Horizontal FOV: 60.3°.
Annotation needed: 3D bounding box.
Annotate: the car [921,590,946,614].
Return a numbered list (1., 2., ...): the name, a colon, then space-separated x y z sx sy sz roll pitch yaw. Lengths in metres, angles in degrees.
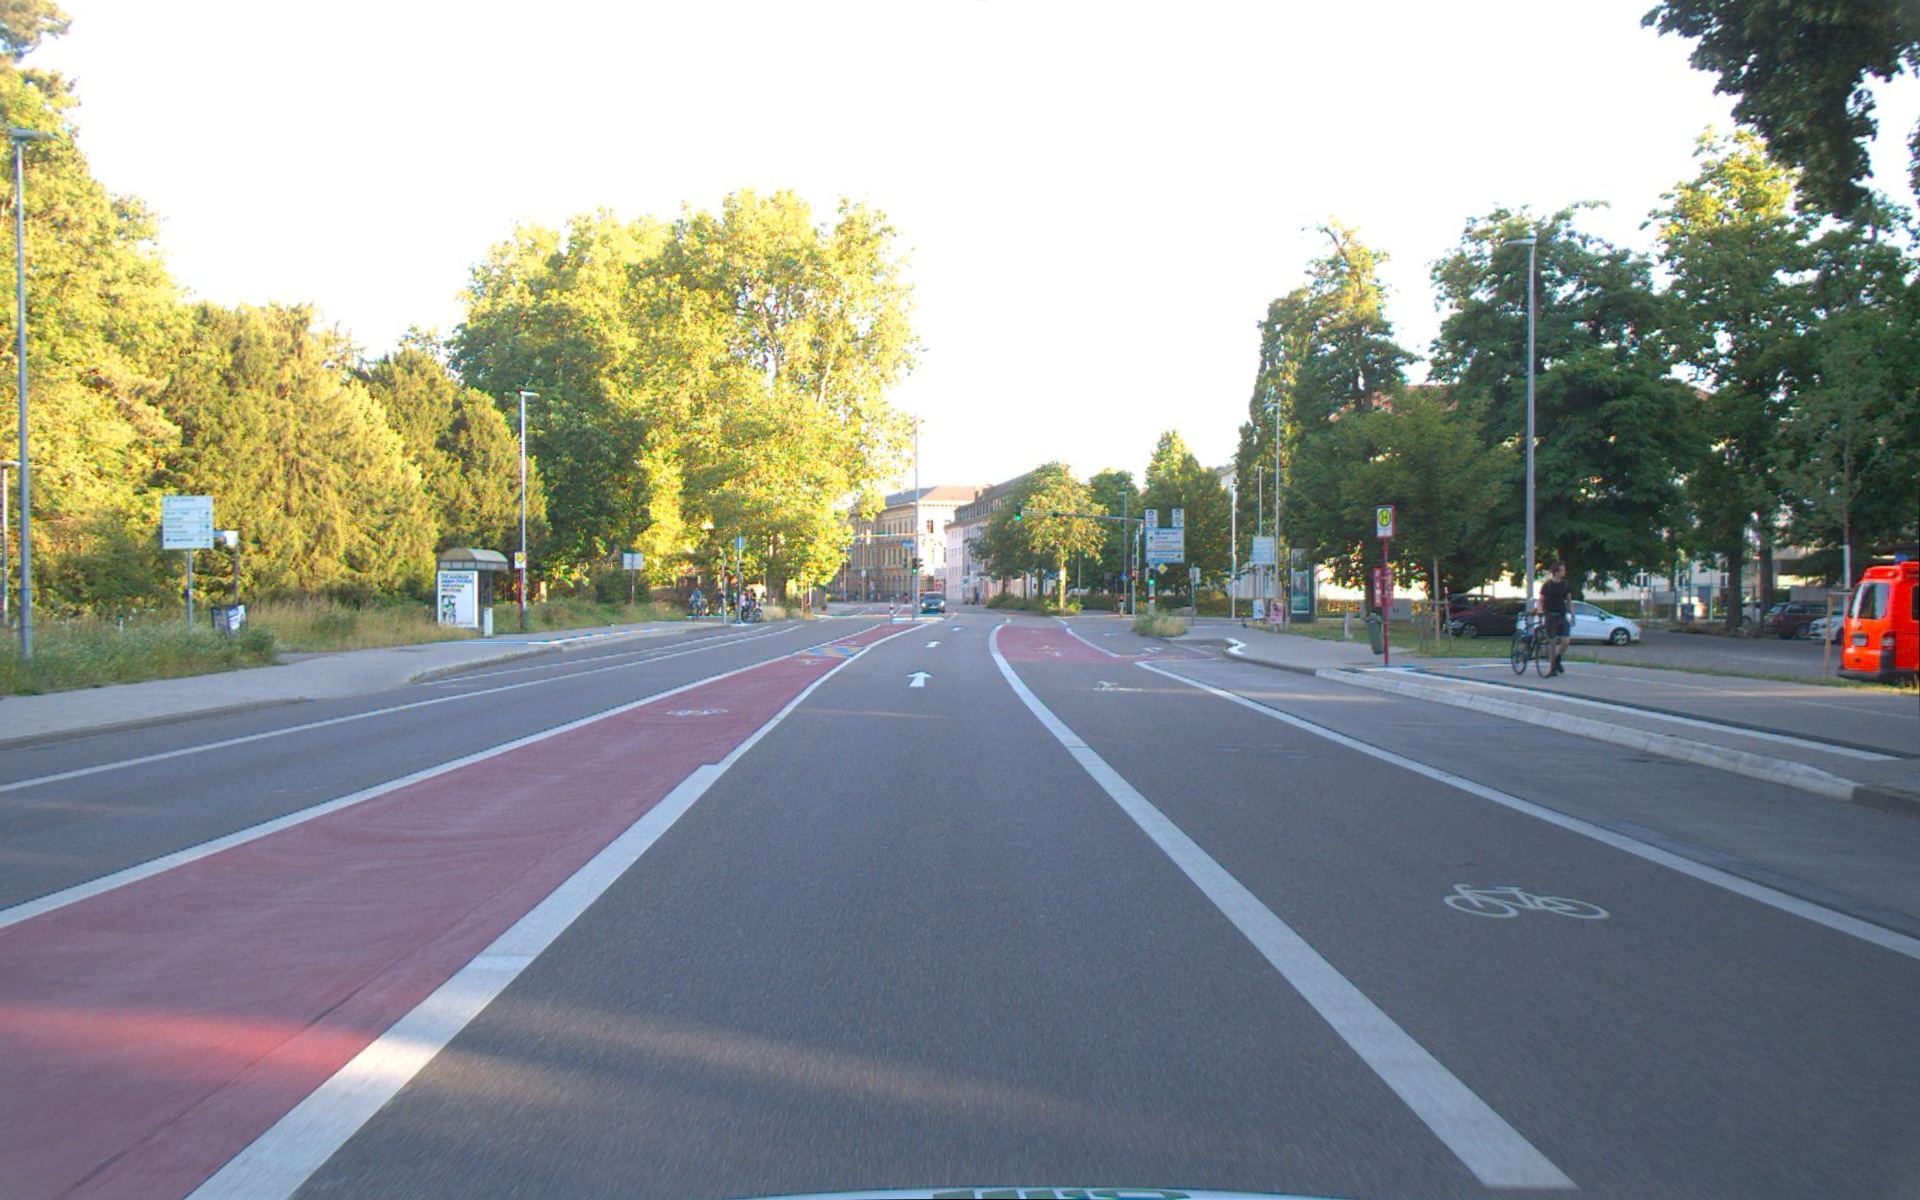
1. car: -2.015 0.179 126.066 1.812 1.750 4.295 -2 0 0

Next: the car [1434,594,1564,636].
1. car: 21.011 0.612 64.608 4.473 1.474 1.901 -2 -2 4

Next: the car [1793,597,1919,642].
1. car: 31.795 0.680 58.328 3.902 1.501 1.835 1 0 9

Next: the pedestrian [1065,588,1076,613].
1. pedestrian: 9.226 0.011 138.035 0.852 2.049 0.722 1 0 2

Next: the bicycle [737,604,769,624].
1. bicycle: -11.108 0.746 88.781 1.735 1.048 0.578 0 0 33

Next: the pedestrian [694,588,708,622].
1. pedestrian: -16.079 0.316 102.634 0.644 2.049 0.598 1 0 -36

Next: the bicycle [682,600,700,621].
1. bicycle: -14.685 0.559 90.419 0.755 1.120 2.121 0 0 -4

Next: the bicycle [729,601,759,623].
1. bicycle: -11.380 0.635 87.157 1.536 1.131 0.631 0 0 33

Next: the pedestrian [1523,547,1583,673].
1. pedestrian: 9.820 0.155 27.421 0.708 2.049 0.695 1 0 -1

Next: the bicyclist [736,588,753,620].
1. bicyclist: -11.340 0.203 87.128 0.626 1.678 0.629 0 0 33

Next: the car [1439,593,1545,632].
1. car: 21.784 0.505 67.873 3.902 1.588 1.787 0 0 9

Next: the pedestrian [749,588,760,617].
1. pedestrian: -14.425 0.170 116.309 0.626 2.049 0.701 0 0 4

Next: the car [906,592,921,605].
1. car: -5.846 -0.204 207.078 1.782 1.616 3.999 -1 0 -1

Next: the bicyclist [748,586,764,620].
1. bicyclist: -10.931 0.150 88.676 0.626 1.811 0.574 0 0 33

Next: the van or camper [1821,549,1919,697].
1. van or camper: 16.664 0.394 26.366 4.710 2.284 2.297 1 0 10

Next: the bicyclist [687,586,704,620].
1. bicyclist: -14.433 0.169 90.315 0.720 1.856 0.712 -2 0 2

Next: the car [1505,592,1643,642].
1. car: 20.367 0.543 54.983 3.902 1.564 1.913 1 0 5

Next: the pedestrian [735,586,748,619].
1. pedestrian: -11.195 0.122 84.748 0.594 1.725 0.499 0 0 3

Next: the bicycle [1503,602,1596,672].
1. bicycle: 9.860 0.603 27.743 0.813 1.116 1.968 -1 0 -1

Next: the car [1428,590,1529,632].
1. car: 22.133 0.462 70.747 3.814 1.724 1.838 1 0 6

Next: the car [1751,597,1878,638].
1. car: 32.775 0.674 63.542 3.902 1.467 1.903 1 0 7
